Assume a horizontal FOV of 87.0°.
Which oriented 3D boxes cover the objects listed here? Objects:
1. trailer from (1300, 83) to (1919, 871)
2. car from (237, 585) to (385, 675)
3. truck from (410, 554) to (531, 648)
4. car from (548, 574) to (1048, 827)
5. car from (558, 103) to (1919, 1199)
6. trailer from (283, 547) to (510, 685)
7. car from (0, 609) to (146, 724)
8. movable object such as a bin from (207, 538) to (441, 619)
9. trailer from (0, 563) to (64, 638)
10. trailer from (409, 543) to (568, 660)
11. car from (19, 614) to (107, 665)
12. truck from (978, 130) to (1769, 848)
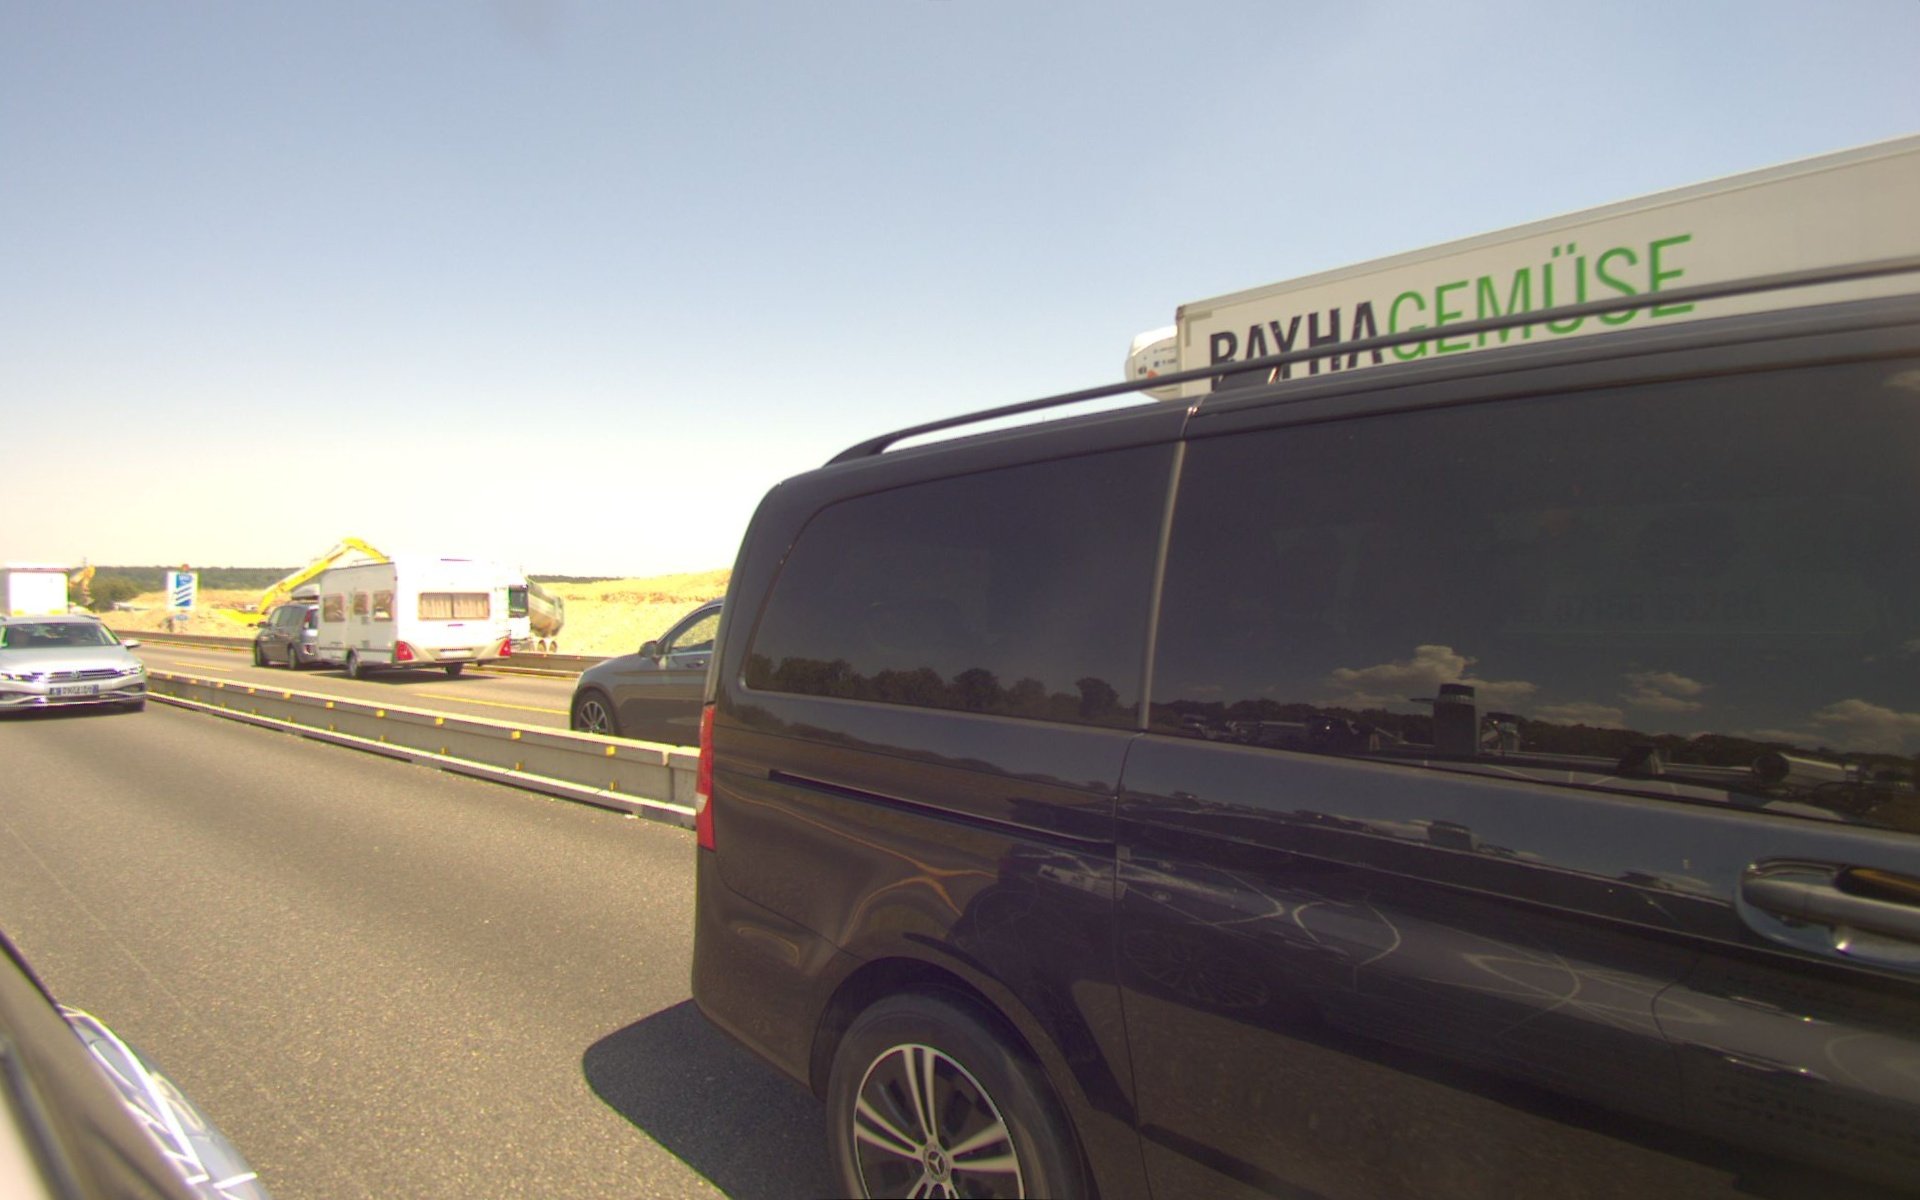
[{"bbox_3d":[9.194,-0.698,3.427,15.527,4.211,2.476,-1,-2,42],"label":"trailer"},{"bbox_3d":[-17.200,0.748,26.724,4.862,2.171,1.973,0,-1,41],"label":"car"},{"bbox_3d":[-16.965,0.010,34.915,2.547,2.986,5.070,-1,0,-41],"label":"truck"},{"bbox_3d":[-1.600,0.643,8.664,4.591,1.625,1.671,0,0,41],"label":"car"},{"bbox_3d":[1.561,0.431,1.703,5.476,1.865,1.854,-1,0,41],"label":"car"},{"bbox_3d":[-12.908,0.376,22.914,6.752,2.707,2.287,-1,-2,41],"label":"trailer"},{"bbox_3d":[-14.067,0.941,15.498,4.098,1.519,1.781,-1,0,41],"label":"car"},{"bbox_3d":[-57.633,-1.925,92.774,3.386,6.823,18.034,0,0,40],"label":"movable object such as a bin"},{"bbox_3d":[-56.933,0.050,60.823,13.645,4.125,2.825,0,-1,41],"label":"trailer"},{"bbox_3d":[-18.396,0.027,40.217,2.758,4.129,8.375,-1,0,-3],"label":"trailer"},{"bbox_3d":[-29.668,1.263,33.433,3.974,1.513,1.671,0,0,41],"label":"car"},{"bbox_3d":[3.192,-0.604,8.854,5.910,4.230,2.465,-1,-2,42],"label":"truck"}]
